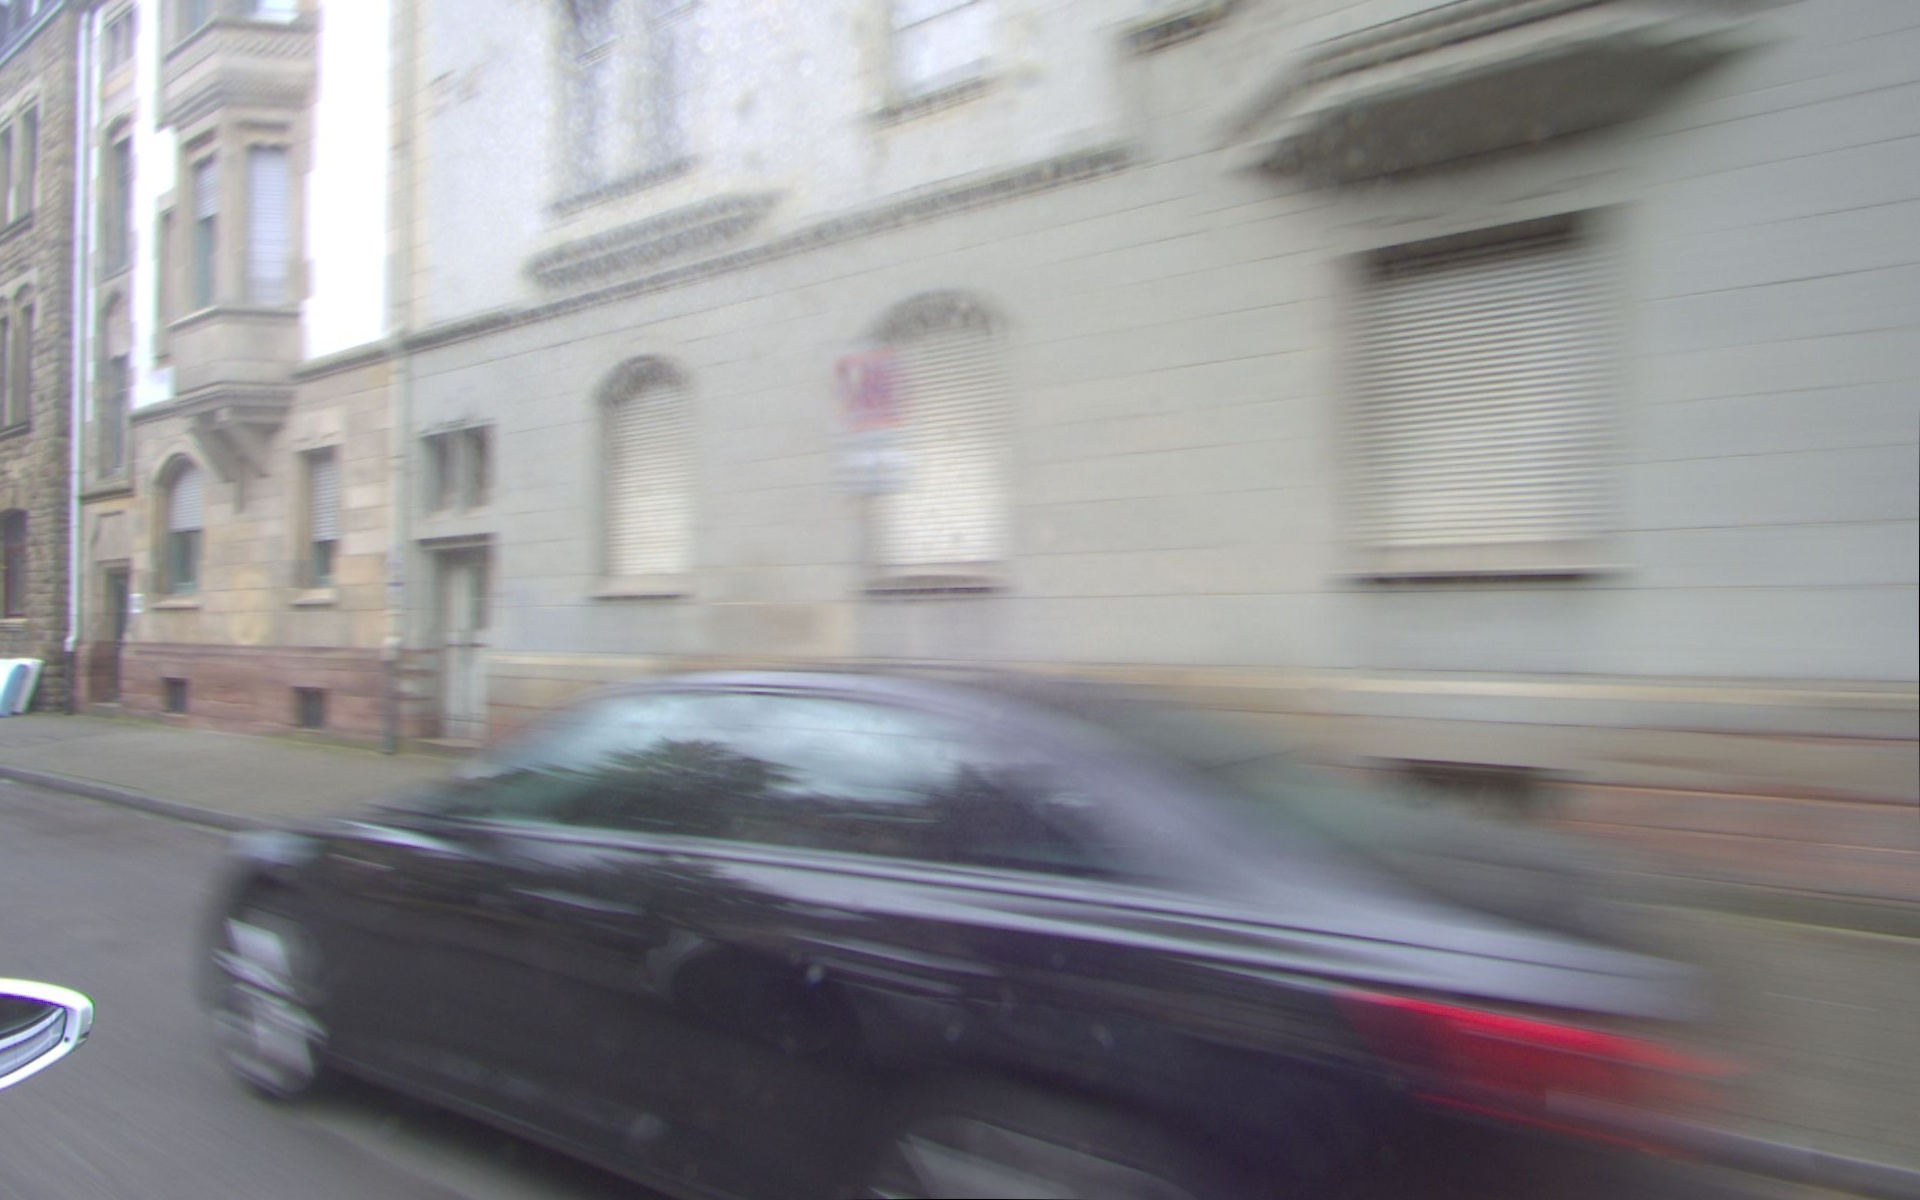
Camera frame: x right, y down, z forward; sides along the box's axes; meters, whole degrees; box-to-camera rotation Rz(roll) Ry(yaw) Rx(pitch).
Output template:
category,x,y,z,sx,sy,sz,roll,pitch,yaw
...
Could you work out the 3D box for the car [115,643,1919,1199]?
category,x,y,z,sx,sy,sz,roll,pitch,yaw
car,-0.544,0.914,3.203,5.120,1.456,1.798,0,-2,32
